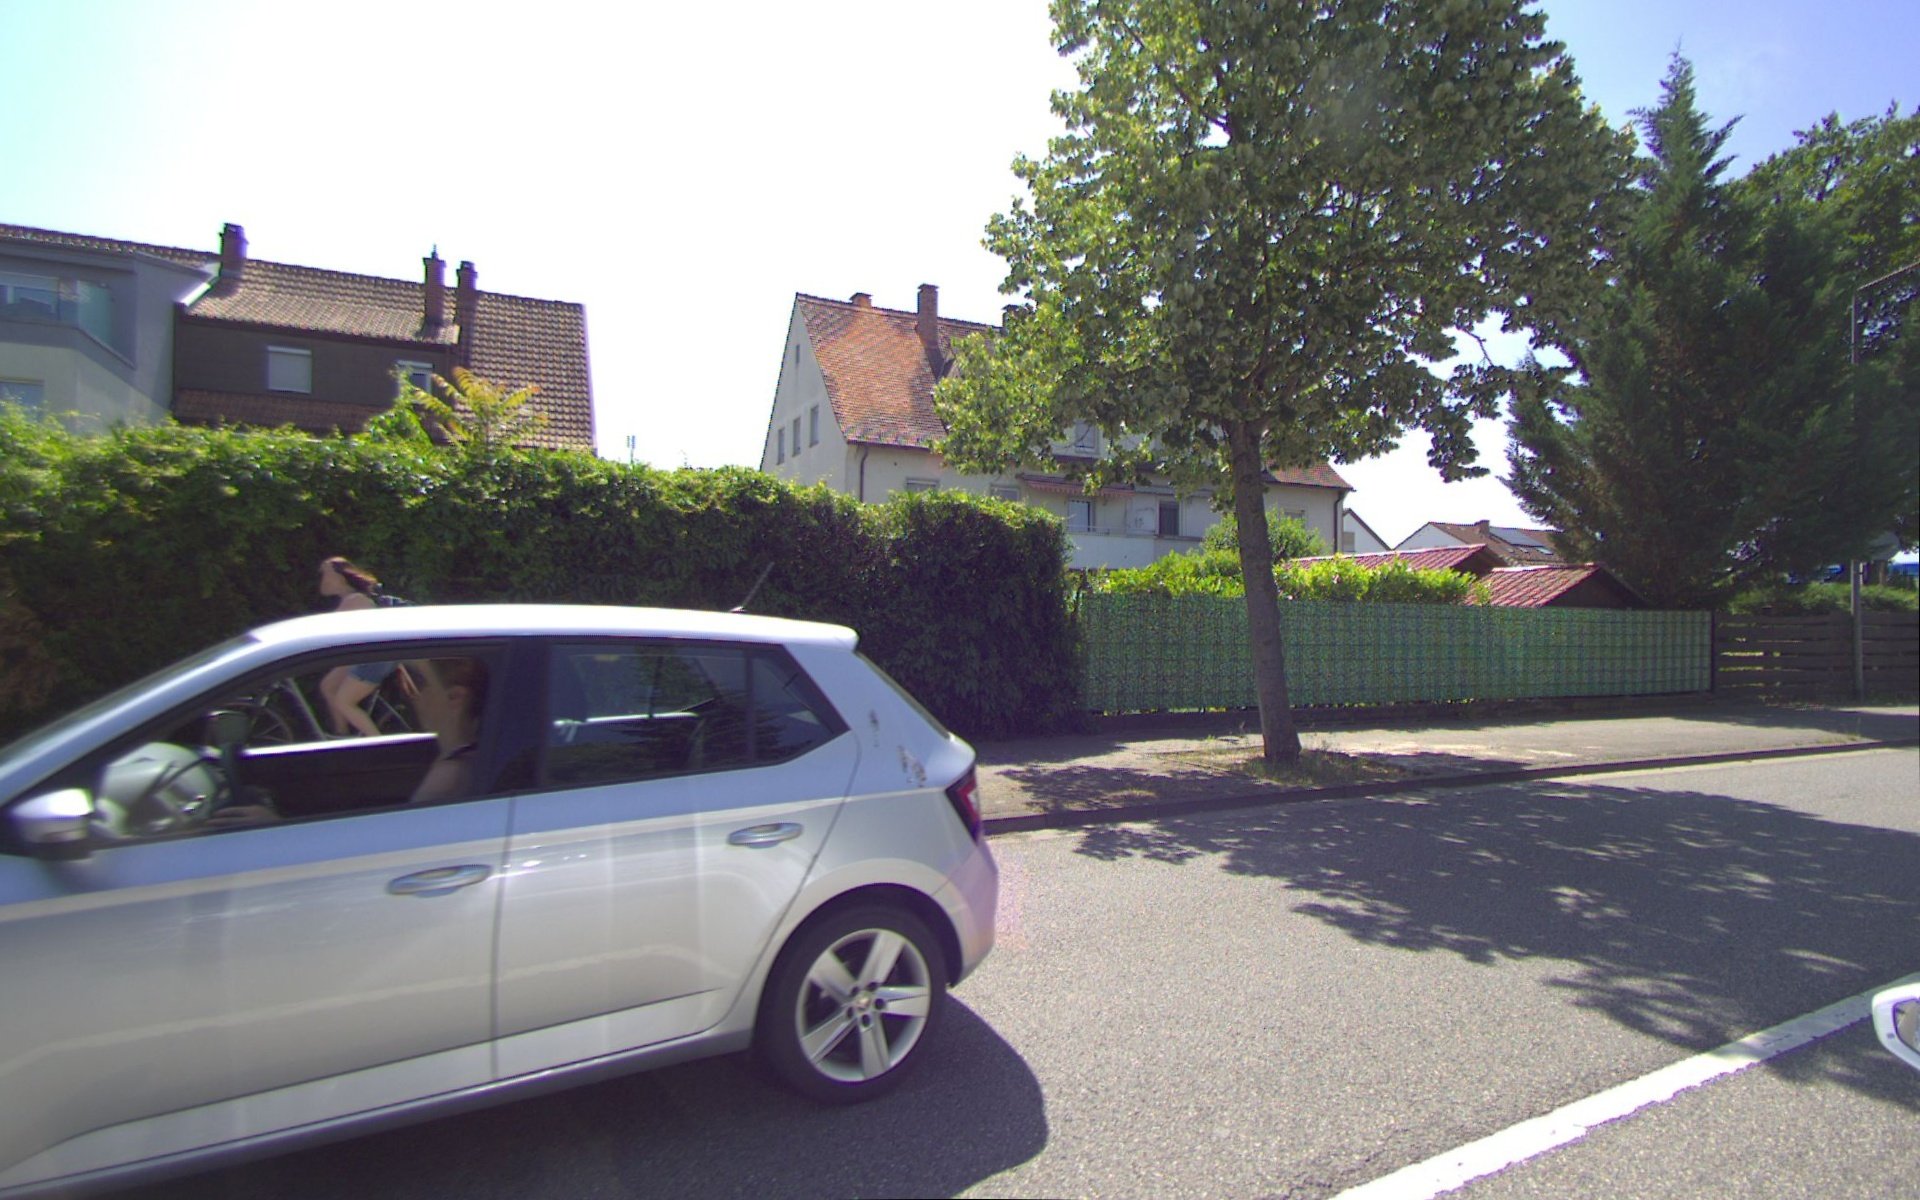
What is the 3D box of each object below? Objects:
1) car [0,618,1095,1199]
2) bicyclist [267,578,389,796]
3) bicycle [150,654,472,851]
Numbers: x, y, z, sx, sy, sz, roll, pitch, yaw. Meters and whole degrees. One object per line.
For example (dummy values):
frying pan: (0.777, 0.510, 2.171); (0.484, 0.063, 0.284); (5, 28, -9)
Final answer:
car: (-1.532, 0.817, 3.068); (3.663, 1.502, 1.605); (1, -2, -30)
bicyclist: (-4.392, 0.583, 7.024); (0.668, 1.427, 0.625); (1, -2, -29)
bicycle: (-4.418, 0.990, 6.995); (1.794, 1.195, 0.629); (1, -2, -30)
